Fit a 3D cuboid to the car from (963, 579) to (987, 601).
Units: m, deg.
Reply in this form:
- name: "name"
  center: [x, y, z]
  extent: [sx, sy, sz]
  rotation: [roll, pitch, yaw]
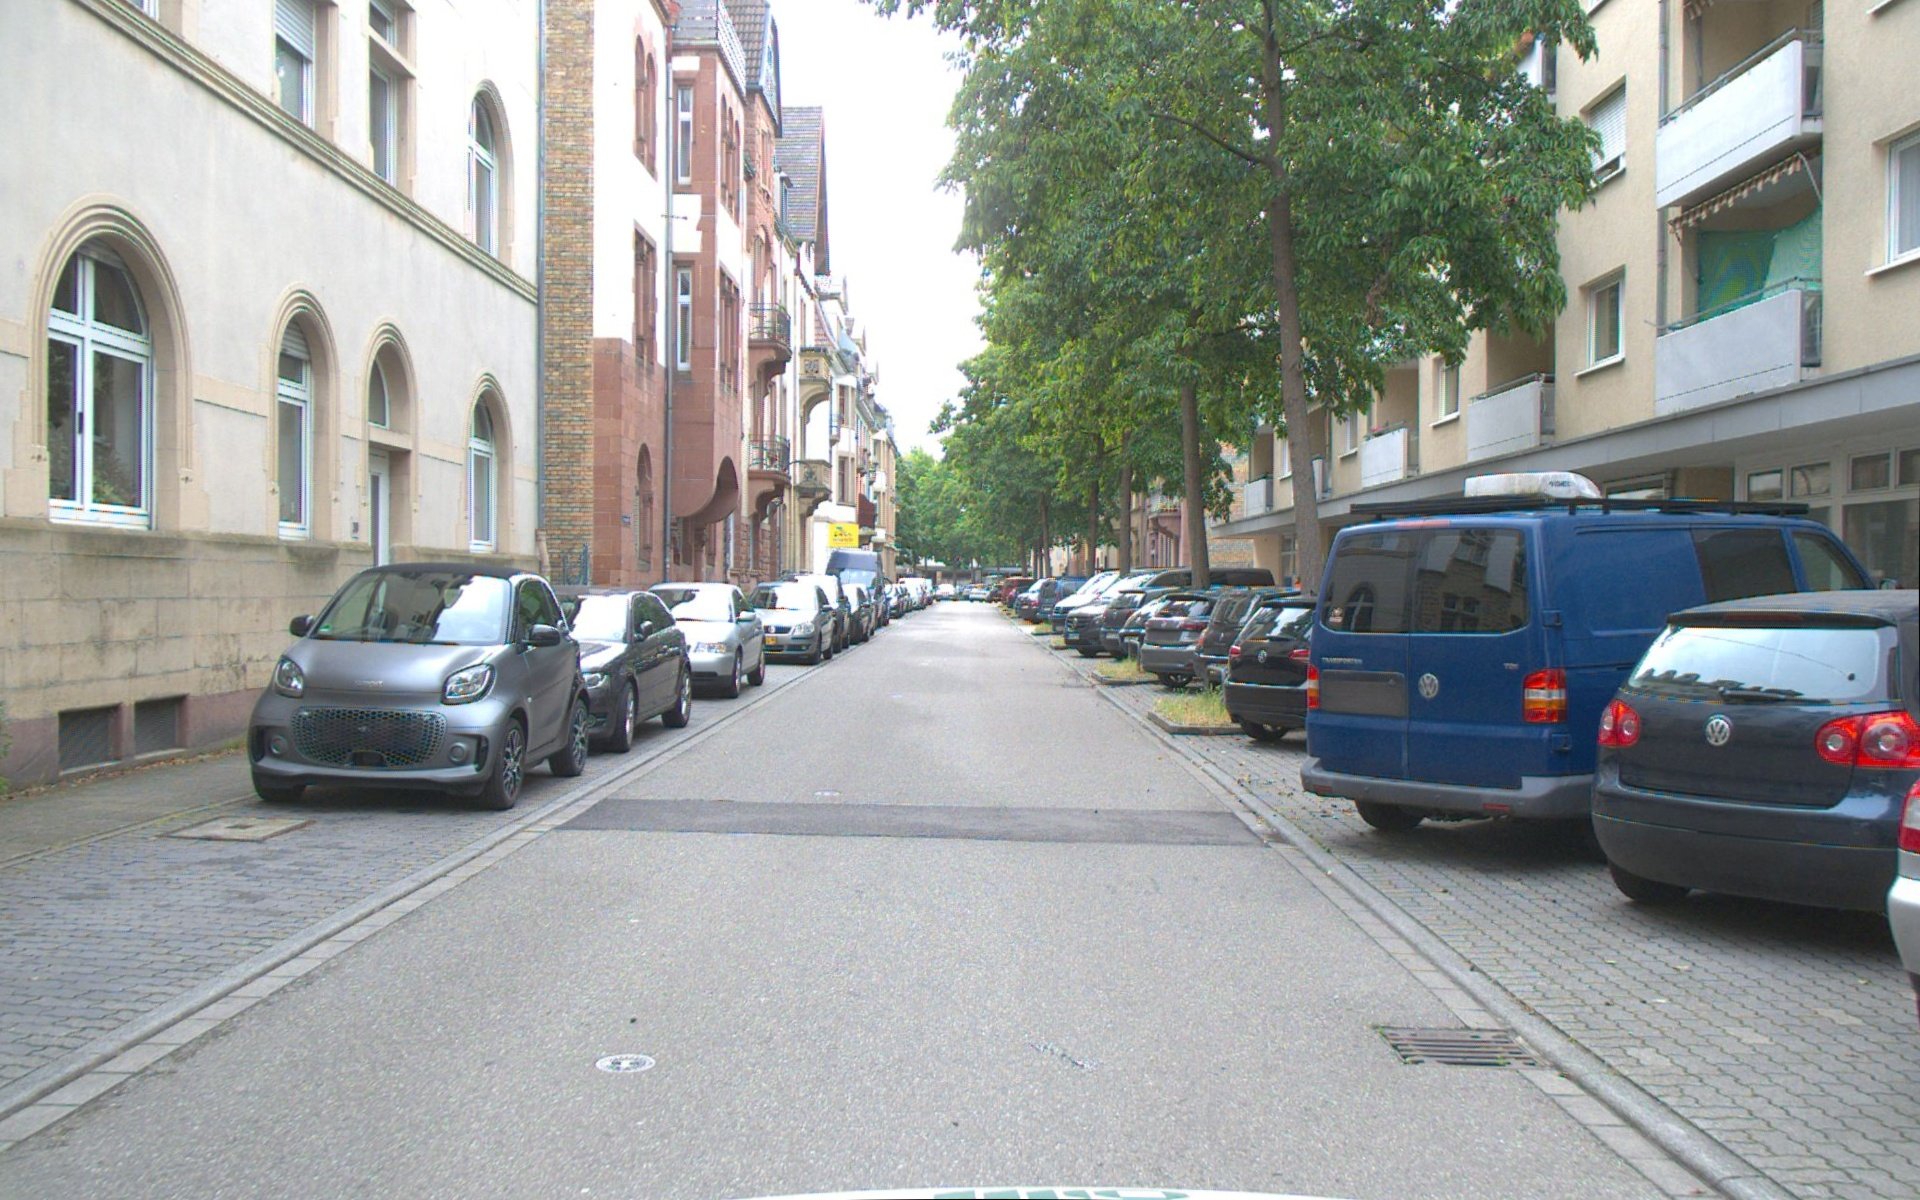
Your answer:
- name: "car"
  center: [1.291, -0.832, 146.382]
  extent: [1.953, 1.825, 3.999]
  rotation: [2, -1, -1]

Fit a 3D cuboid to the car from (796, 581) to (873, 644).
- name: "car"
  center: [-3.195, 0.295, 42.677]
  extent: [1.601, 1.498, 4.000]
  rotation: [2, 1, 0]

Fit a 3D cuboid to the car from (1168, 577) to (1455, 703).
- name: "car"
  center: [4.699, 0.498, 22.190]
  extent: [3.313, 1.523, 1.839]
  rotation: [-1, 0, -23]

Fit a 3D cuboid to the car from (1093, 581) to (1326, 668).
- name: "car"
  center: [4.710, 0.429, 31.232]
  extent: [3.989, 1.509, 1.932]
  rotation: [-1, 0, -26]

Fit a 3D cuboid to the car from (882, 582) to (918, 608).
- name: "car"
  center: [-3.496, -0.290, 96.665]
  extent: [1.953, 1.501, 4.000]
  rotation: [0, 1, 0]

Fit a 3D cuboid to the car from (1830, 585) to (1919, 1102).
- name: "car"
  center: [4.584, 0.626, 5.197]
  extent: [3.771, 1.442, 1.705]
  rotation: [-3, 2, -34]

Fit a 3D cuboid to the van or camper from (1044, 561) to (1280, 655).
- name: "van or camper"
  center: [4.553, 0.148, 37.113]
  extent: [4.948, 1.902, 2.108]
  rotation: [-2, 0, -28]

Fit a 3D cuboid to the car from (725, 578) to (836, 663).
- name: "car"
  center: [-3.319, 0.341, 31.219]
  extent: [1.628, 1.445, 3.929]
  rotation: [2, 1, 0]

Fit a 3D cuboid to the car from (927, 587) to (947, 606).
- name: "car"
  center: [-2.154, -0.298, 153.619]
  extent: [1.784, 1.673, 3.753]
  rotation: [2, -1, 0]

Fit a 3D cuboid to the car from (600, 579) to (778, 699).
- name: "car"
  center: [-3.563, 0.455, 22.418]
  extent: [1.691, 1.410, 4.137]
  rotation: [2, 1, 0]

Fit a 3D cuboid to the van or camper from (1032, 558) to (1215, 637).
- name: "van or camper"
  center: [4.540, -0.080, 45.818]
  extent: [4.670, 2.029, 1.984]
  rotation: [-1, -1, -26]

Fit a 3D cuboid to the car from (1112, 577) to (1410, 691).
- name: "car"
  center: [4.603, 0.476, 25.249]
  extent: [4.164, 1.527, 1.958]
  rotation: [-2, 0, -28]

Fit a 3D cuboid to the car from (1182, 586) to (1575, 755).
- name: "car"
  center: [4.264, 0.606, 16.559]
  extent: [4.075, 1.467, 1.826]
  rotation: [-1, 0, -40]

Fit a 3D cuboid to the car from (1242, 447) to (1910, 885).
- name: "car"
  center: [4.144, 0.240, 10.728]
  extent: [4.663, 2.234, 2.037]
  rotation: [-3, 2, -40]

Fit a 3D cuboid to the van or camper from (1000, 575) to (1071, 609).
- name: "van or camper"
  center: [4.741, -0.516, 103.627]
  extent: [4.099, 2.122, 1.935]
  rotation: [0, 0, -28]

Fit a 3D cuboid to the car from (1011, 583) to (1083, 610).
- name: "car"
  center: [4.711, -0.198, 89.565]
  extent: [3.688, 1.490, 1.727]
  rotation: [0, 0, -6]

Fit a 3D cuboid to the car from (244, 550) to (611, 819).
- name: "car"
  center: [-3.585, 0.483, 11.637]
  extent: [1.613, 1.598, 2.956]
  rotation: [2, 1, -1]

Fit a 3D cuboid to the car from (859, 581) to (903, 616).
- name: "car"
  center: [-3.484, -0.081, 73.730]
  extent: [1.753, 1.506, 4.022]
  rotation: [1, 0, -1]

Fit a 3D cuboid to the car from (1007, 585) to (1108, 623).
- name: "car"
  center: [4.147, 0.177, 70.224]
  extent: [3.969, 1.586, 1.865]
  rotation: [0, 0, -31]

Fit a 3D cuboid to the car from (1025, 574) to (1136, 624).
- name: "car"
  center: [4.922, -0.030, 67.395]
  extent: [4.127, 1.902, 1.980]
  rotation: [-2, 0, -30]

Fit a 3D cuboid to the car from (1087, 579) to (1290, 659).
- name: "car"
  center: [4.728, 0.369, 34.153]
  extent: [3.807, 1.528, 1.894]
  rotation: [-1, 0, -29]

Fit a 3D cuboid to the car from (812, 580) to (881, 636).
- name: "car"
  center: [-3.188, 0.239, 47.227]
  extent: [1.633, 1.499, 4.000]
  rotation: [2, -1, 0]

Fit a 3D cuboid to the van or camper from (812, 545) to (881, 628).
- name: "van or camper"
  center: [-3.810, -0.466, 56.494]
  extent: [1.967, 2.698, 5.316]
  rotation: [0, 0, 0]

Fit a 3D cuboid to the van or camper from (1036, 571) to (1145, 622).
- name: "van or camper"
  center: [6.088, -0.141, 77.176]
  extent: [4.726, 2.175, 2.034]
  rotation: [2, 1, -31]

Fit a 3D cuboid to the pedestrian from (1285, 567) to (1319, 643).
- name: "pedestrian"
  center: [8.131, 0.112, 39.322]
  extent: [0.611, 1.772, 0.849]
  rotation: [-1, 0, 0]

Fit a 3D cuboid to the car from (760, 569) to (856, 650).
- name: "car"
  center: [-3.393, 0.178, 37.616]
  extent: [1.750, 1.675, 4.361]
  rotation: [2, 1, 0]

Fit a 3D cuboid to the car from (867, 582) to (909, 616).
- name: "car"
  center: [-3.404, -0.053, 78.772]
  extent: [1.792, 1.451, 3.801]
  rotation: [3, 0, 0]

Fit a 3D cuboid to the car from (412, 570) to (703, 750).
- name: "car"
  center: [-3.596, 0.512, 15.486]
  extent: [1.691, 1.411, 3.929]
  rotation: [2, -1, 0]

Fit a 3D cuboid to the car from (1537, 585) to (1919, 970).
- name: "car"
  center: [4.704, 0.681, 8.183]
  extent: [3.622, 1.506, 1.670]
  rotation: [0, 1, -33]

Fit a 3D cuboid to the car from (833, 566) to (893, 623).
- name: "car"
  center: [-3.591, -0.213, 62.004]
  extent: [1.952, 2.049, 4.891]
  rotation: [0, 0, 0]

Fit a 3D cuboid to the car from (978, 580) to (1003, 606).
- name: "car"
  center: [2.599, -0.613, 140.677]
  extent: [1.953, 2.048, 4.000]
  rotation: [3, 0, 0]
